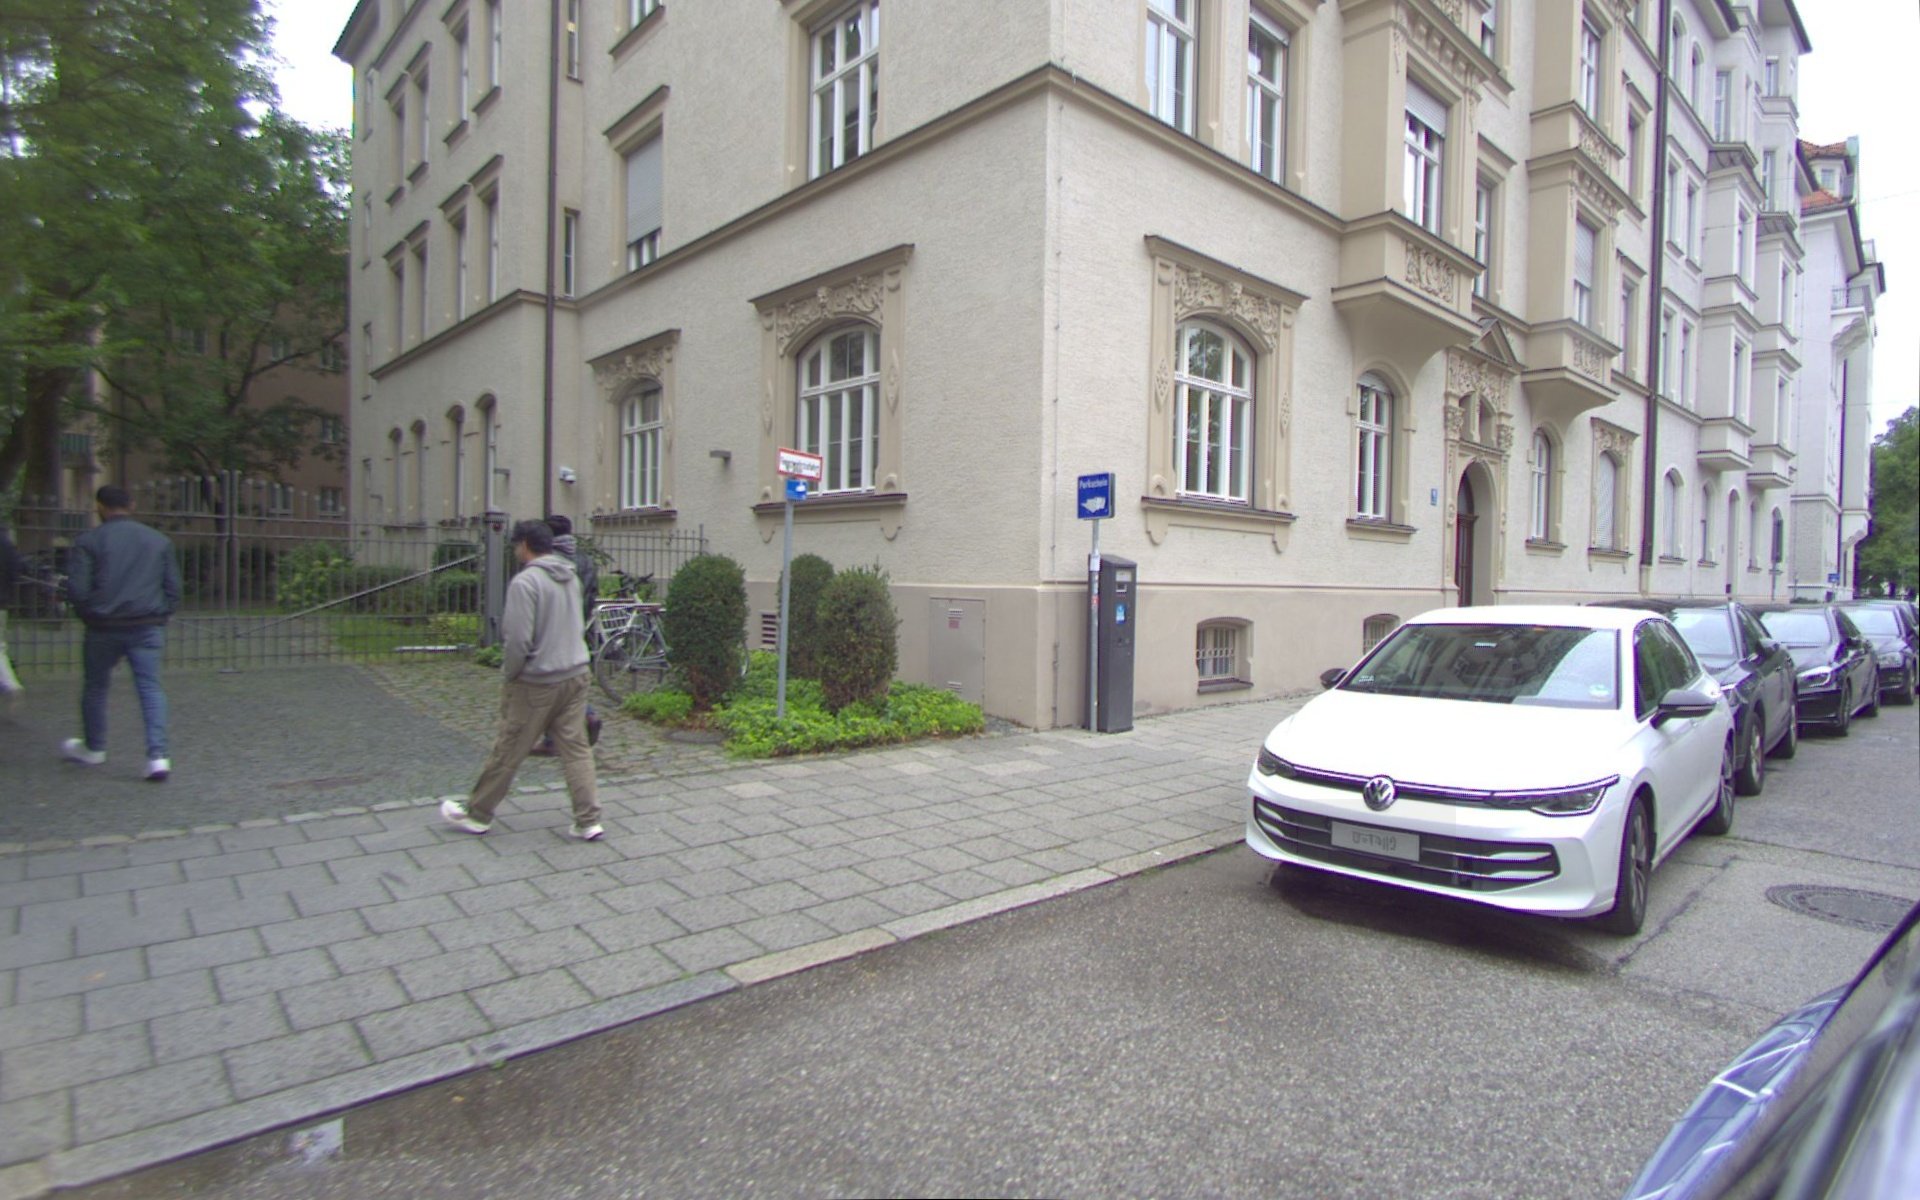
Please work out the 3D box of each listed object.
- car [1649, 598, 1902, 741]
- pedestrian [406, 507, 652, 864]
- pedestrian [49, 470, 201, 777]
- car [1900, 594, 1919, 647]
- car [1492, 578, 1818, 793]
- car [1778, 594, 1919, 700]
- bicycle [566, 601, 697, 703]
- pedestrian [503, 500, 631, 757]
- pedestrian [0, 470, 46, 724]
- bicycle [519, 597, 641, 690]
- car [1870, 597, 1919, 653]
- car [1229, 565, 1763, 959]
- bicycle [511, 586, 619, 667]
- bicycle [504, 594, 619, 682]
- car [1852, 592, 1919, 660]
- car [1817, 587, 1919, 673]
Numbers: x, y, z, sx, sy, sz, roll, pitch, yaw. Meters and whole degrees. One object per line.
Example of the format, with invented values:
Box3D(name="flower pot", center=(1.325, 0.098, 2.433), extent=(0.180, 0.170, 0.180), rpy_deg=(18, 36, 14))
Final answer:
Box3D(name="car", center=(9.863, 0.701, 12.139), extent=(3.953, 1.416, 1.744), rpy_deg=(0, -1, -42))
Box3D(name="pedestrian", center=(-2.284, 0.379, 5.387), extent=(0.848, 1.677, 0.857), rpy_deg=(5, 4, 33))
Box3D(name="pedestrian", center=(-5.333, 0.130, 6.455), extent=(0.661, 1.791, 0.883), rpy_deg=(2, 0, -43))
Box3D(name="car", center=(28.880, 0.597, 29.753), extent=(1.711, 1.489, 4.019), rpy_deg=(0, -1, 45))
Box3D(name="car", center=(6.464, 0.657, 9.228), extent=(1.791, 1.518, 4.016), rpy_deg=(-1, -2, 44))
Box3D(name="car", center=(14.006, 0.651, 15.553), extent=(3.931, 1.435, 1.644), rpy_deg=(1, 0, -42))
Box3D(name="bicycle", center=(-3.195, 0.484, 9.876), extent=(1.110, 0.919, 0.453), rpy_deg=(0, 2, -41))
Box3D(name="pedestrian", center=(-2.914, 0.198, 7.501), extent=(0.661, 1.791, 0.629), rpy_deg=(2, 0, -41))
Box3D(name="pedestrian", center=(-7.339, -0.054, 7.541), extent=(0.667, 1.840, 0.861), rpy_deg=(5, 0, -43))
Box3D(name="bicycle", center=(-4.012, 0.438, 10.711), extent=(1.110, 0.919, 0.453), rpy_deg=(0, 2, -41))
Box3D(name="car", center=(25.613, 0.654, 26.936), extent=(3.931, 1.408, 1.713), rpy_deg=(1, -1, -42))
Box3D(name="car", center=(3.365, 0.653, 5.942), extent=(1.664, 1.527, 3.998), rpy_deg=(1, 0, 45))
Box3D(name="bicycle", center=(-4.743, 0.305, 12.168), extent=(1.110, 0.919, 0.453), rpy_deg=(0, 2, -41))
Box3D(name="bicycle", center=(-4.484, 0.407, 11.411), extent=(1.110, 0.919, 0.453), rpy_deg=(0, 2, -41))
Box3D(name="car", center=(22.319, 0.599, 23.753), extent=(3.535, 1.458, 1.659), rpy_deg=(1, 1, -42))
Box3D(name="car", center=(18.525, 0.566, 20.157), extent=(3.890, 1.535, 1.745), rpy_deg=(1, 0, -42))
